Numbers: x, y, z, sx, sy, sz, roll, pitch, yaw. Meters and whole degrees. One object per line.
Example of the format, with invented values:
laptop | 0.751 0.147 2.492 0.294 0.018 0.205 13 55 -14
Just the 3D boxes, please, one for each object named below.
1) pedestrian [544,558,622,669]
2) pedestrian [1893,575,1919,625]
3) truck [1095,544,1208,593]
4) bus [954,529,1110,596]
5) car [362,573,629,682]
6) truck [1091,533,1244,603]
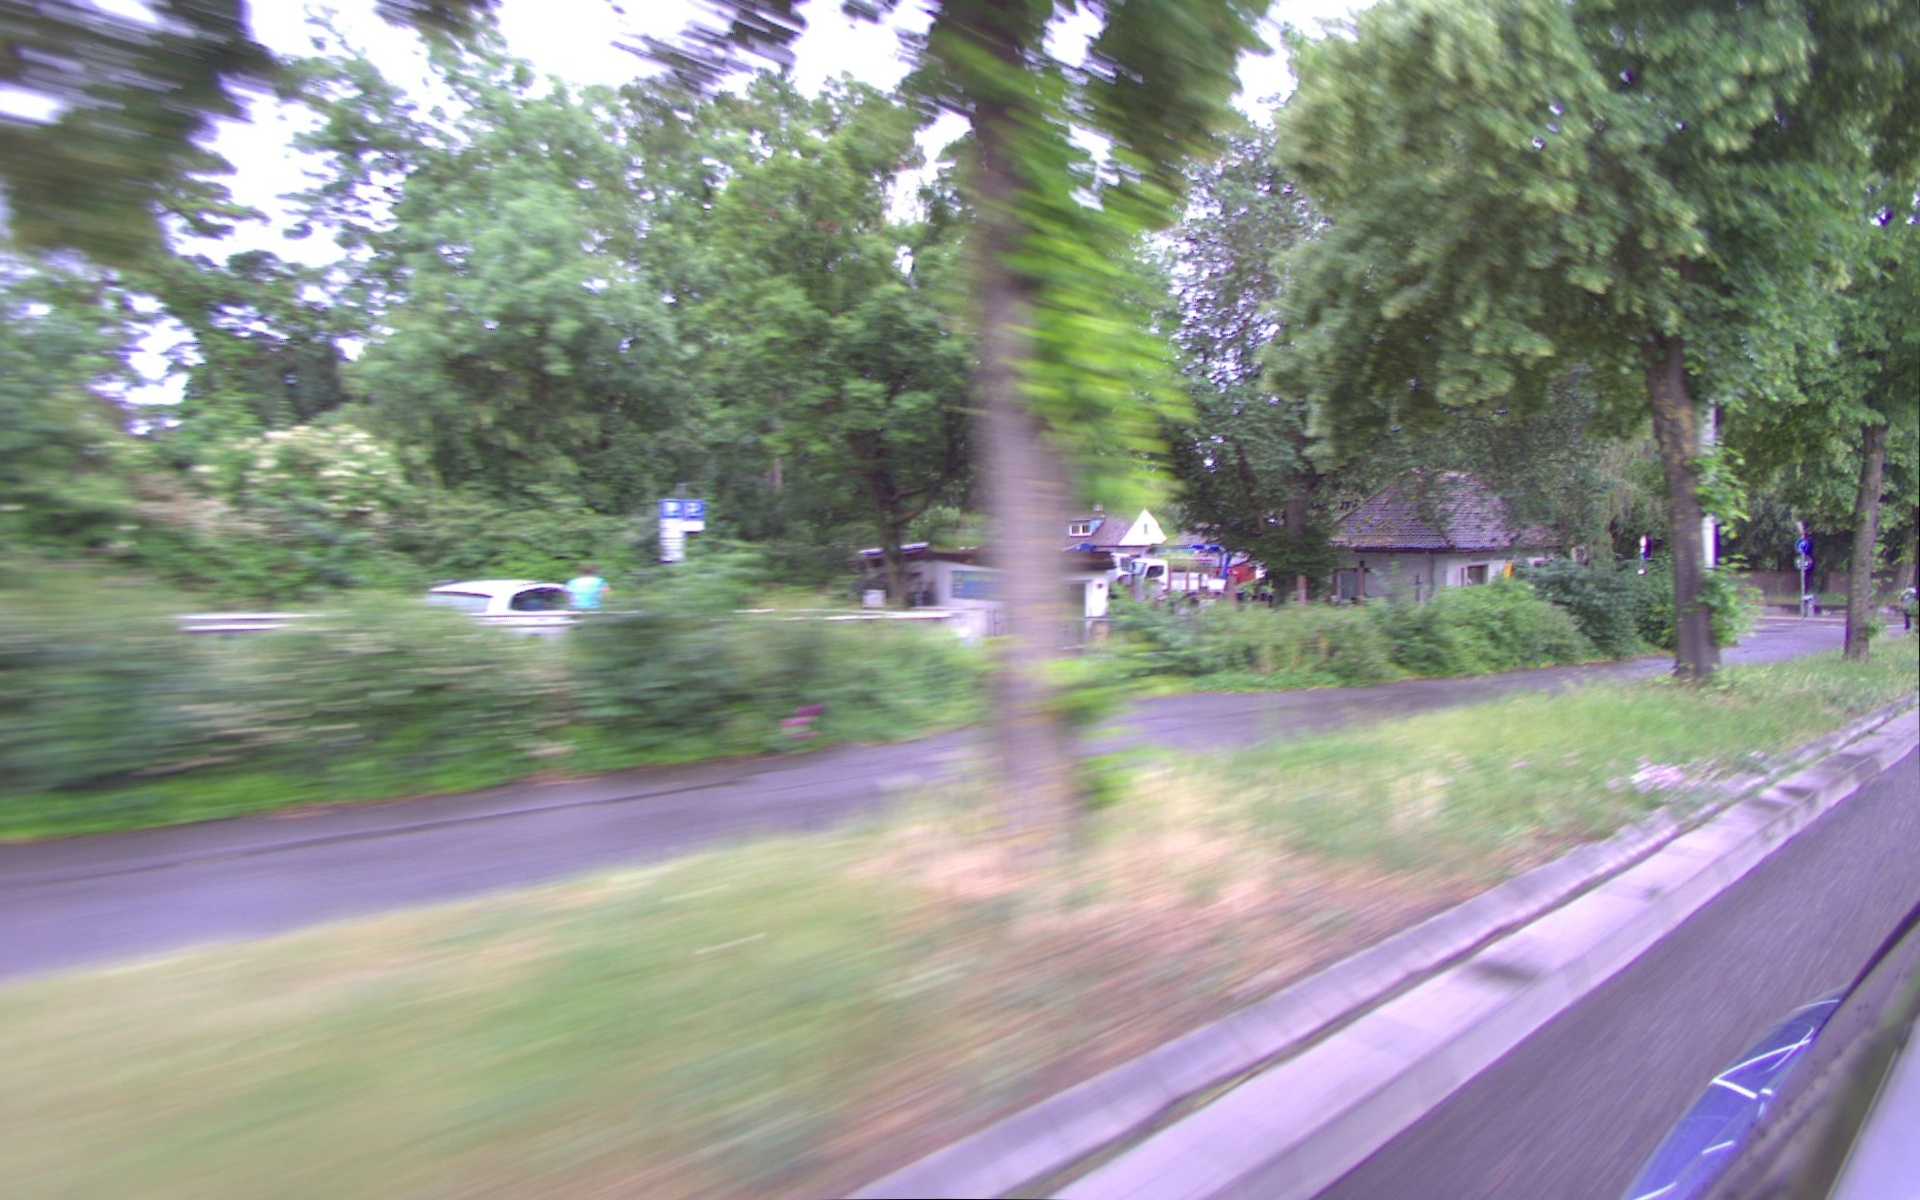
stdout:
pedestrian | -6.359 0.195 17.119 0.882 1.792 0.942 2 2 8
pedestrian | 36.297 -0.013 38.628 0.723 1.877 0.857 0 1 -36
truck | 9.739 -1.547 51.734 2.185 2.209 5.397 1 -2 -44
bus | 3.262 -1.563 44.427 7.033 2.734 2.259 0 1 -36
car | -7.691 0.355 17.363 1.967 1.599 4.639 1 1 9
truck | 9.215 -1.379 44.860 6.466 2.903 2.064 0 1 -19
